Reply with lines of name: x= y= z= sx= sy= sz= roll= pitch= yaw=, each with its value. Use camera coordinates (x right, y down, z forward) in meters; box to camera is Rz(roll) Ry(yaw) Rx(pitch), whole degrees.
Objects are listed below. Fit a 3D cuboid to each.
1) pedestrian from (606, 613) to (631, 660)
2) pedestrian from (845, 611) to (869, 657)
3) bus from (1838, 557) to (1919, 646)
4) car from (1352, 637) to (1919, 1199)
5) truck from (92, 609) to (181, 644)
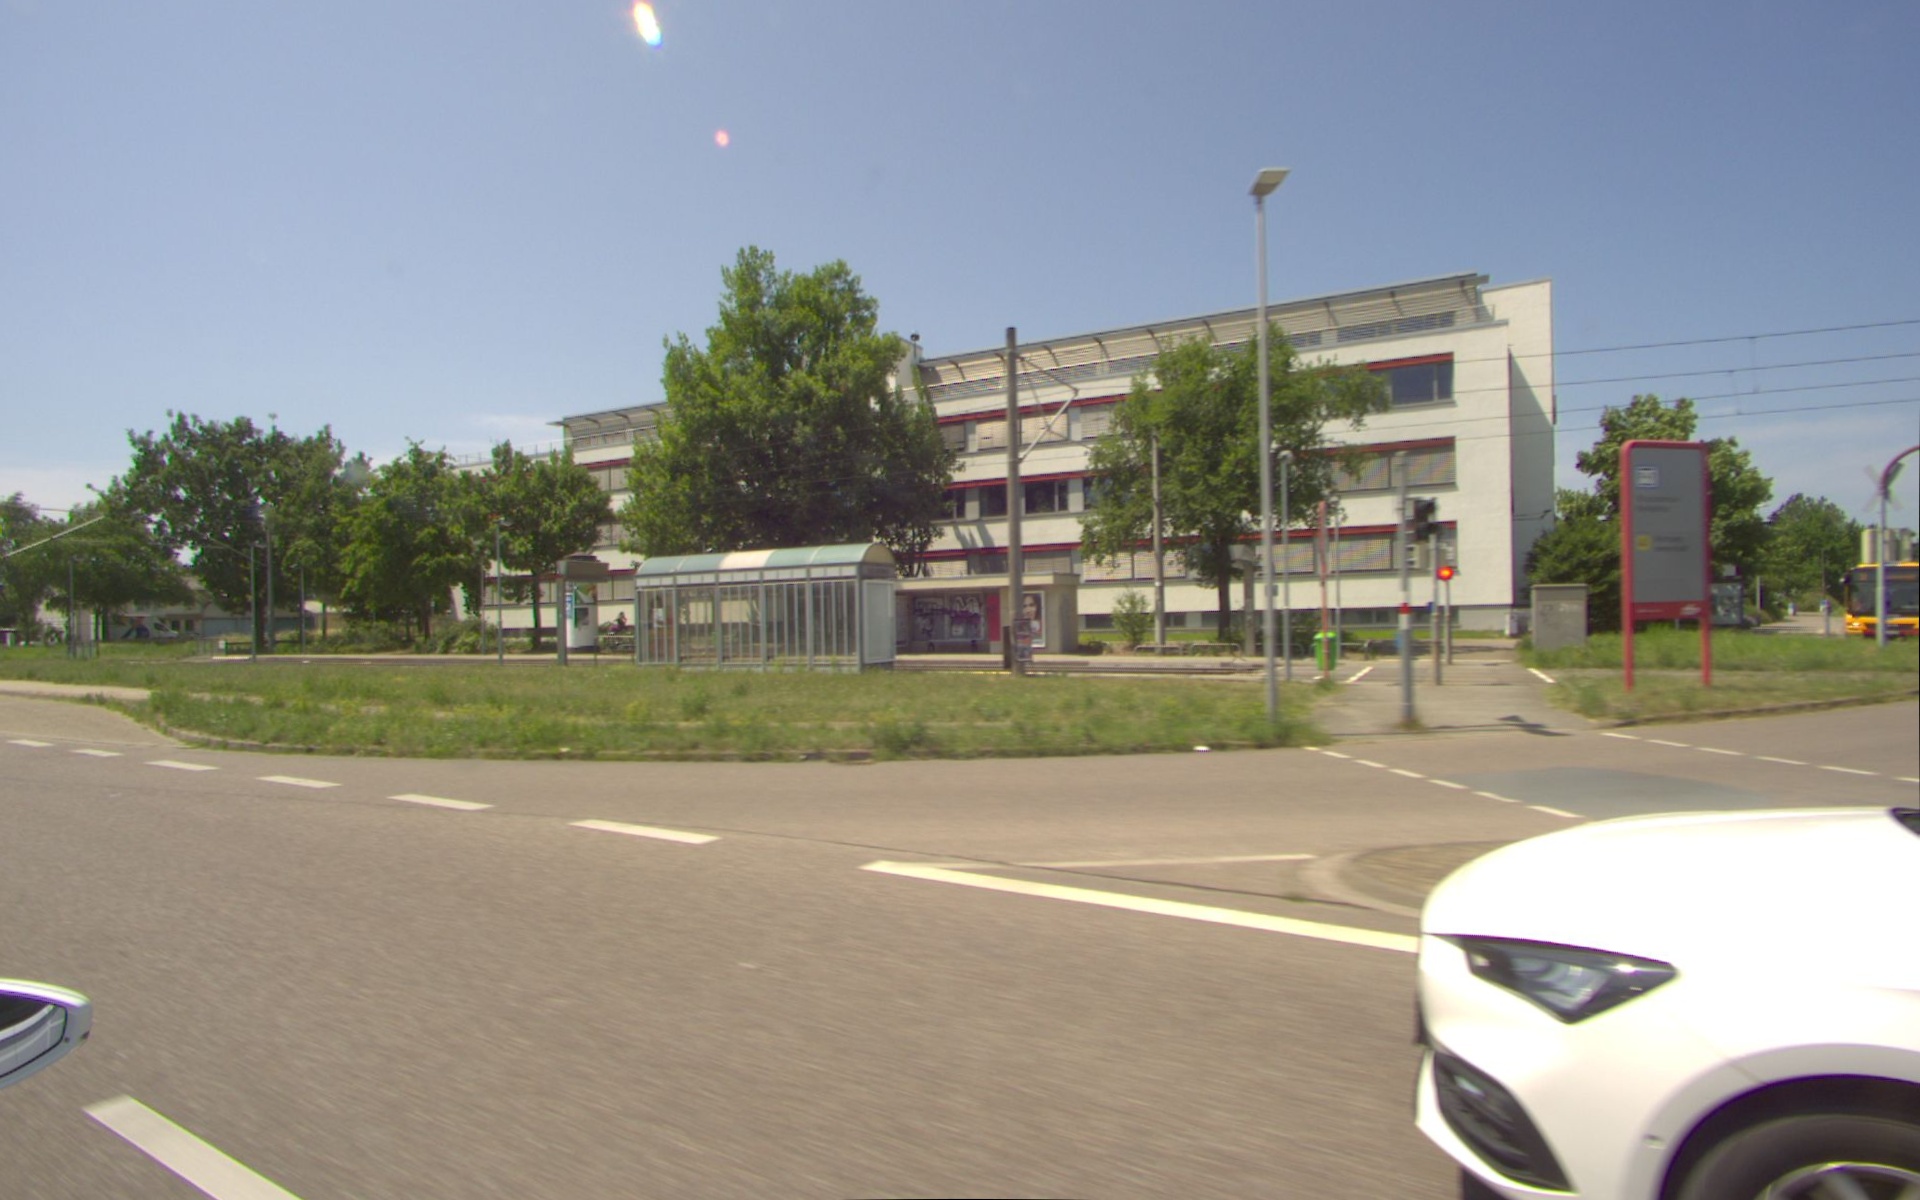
pedestrian: x=-13.939 y=1.494 z=40.839 sx=0.699 sy=1.865 sz=0.695 roll=-1 pitch=-2 yaw=18
pedestrian: x=-3.709 y=1.233 z=36.054 sx=0.681 sy=1.628 sz=0.550 roll=-2 pitch=-2 yaw=34
bus: x=37.796 y=0.154 z=40.767 sx=2.809 sy=3.158 sz=11.976 roll=-3 pitch=-3 yaw=42
car: x=3.150 y=0.773 z=1.704 sx=4.388 sy=1.407 sz=1.679 roll=-2 pitch=-1 yaw=33
truck: x=-75.202 y=2.390 z=91.586 sx=2.283 sy=2.881 sz=5.837 roll=-2 pitch=0 yaw=26
